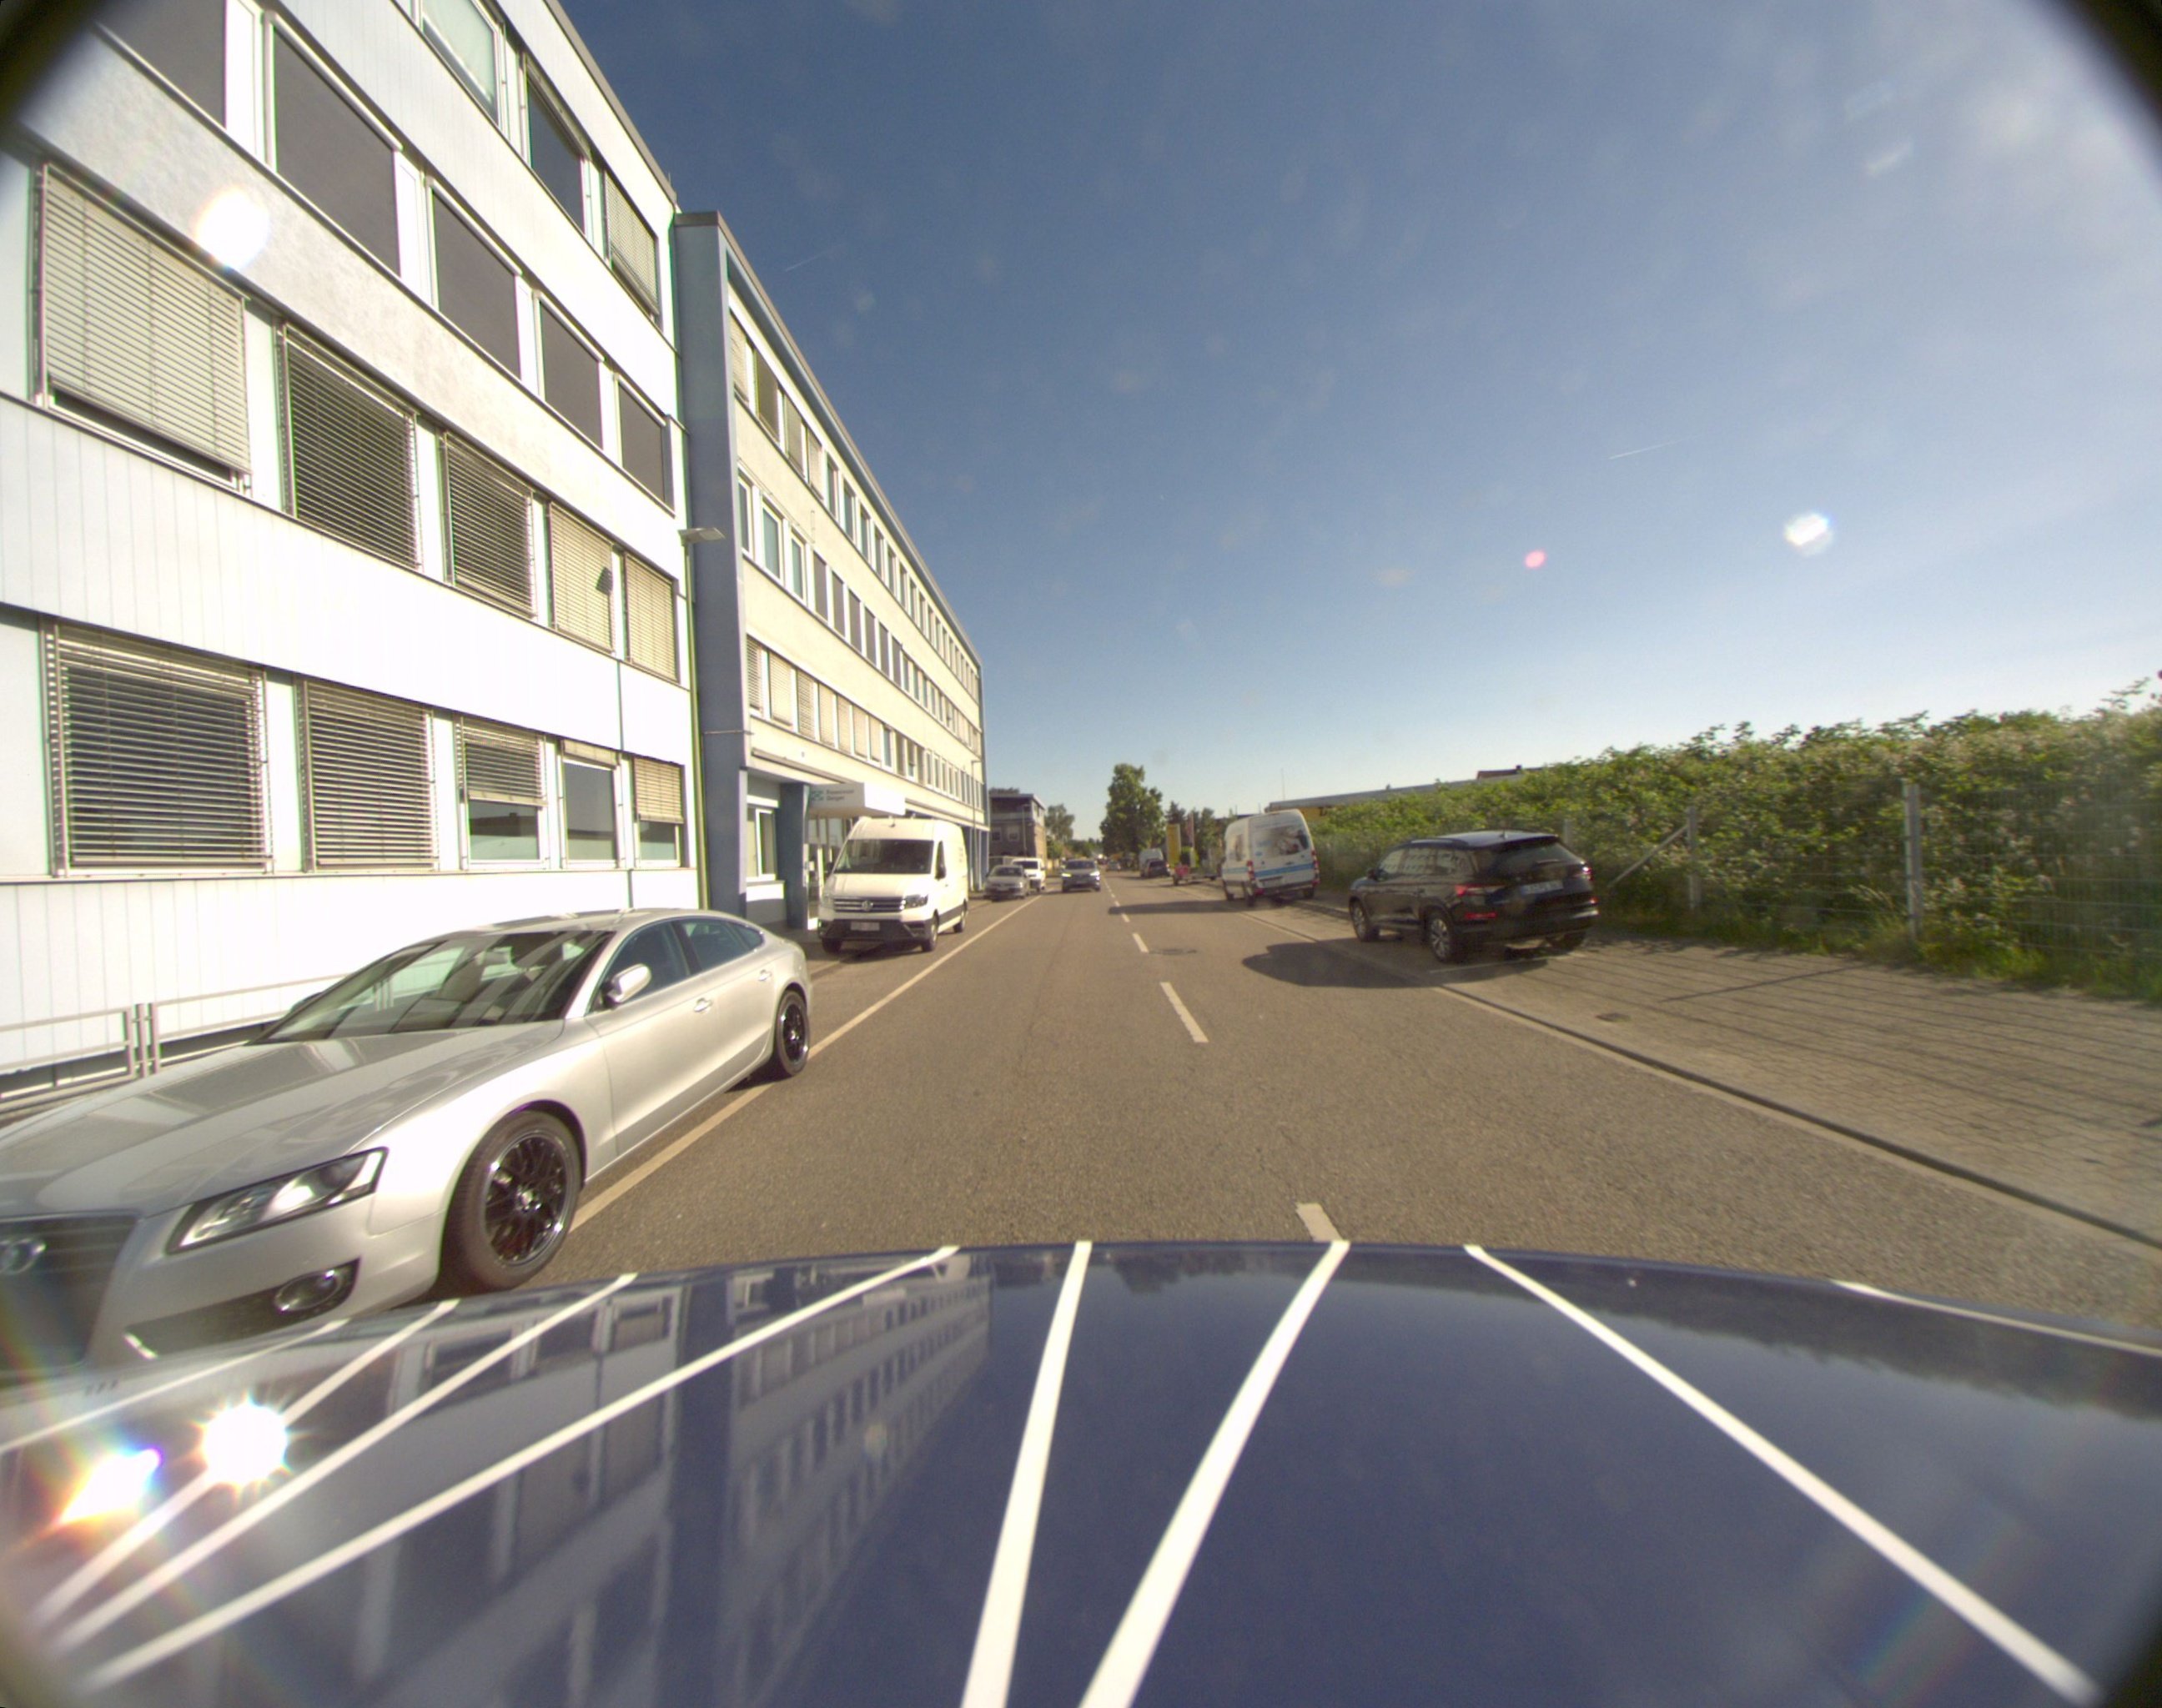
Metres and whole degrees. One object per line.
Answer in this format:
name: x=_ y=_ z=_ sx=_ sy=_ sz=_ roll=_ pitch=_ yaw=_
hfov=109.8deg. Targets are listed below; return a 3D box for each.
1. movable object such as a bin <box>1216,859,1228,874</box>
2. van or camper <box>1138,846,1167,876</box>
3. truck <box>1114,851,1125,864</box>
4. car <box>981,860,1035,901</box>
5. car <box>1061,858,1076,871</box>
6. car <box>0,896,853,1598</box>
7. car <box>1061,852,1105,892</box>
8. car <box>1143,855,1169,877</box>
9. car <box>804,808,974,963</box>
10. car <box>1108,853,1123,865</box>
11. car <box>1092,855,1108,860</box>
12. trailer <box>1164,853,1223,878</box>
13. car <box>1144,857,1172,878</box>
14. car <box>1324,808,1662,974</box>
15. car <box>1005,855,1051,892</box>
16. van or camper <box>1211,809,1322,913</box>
movable object such as a bin: x=9.511 y=0.859 z=51.307 sx=0.615 sy=0.966 sz=0.750 roll=-2 pitch=2 yaw=25
van or camper: x=6.820 y=0.641 z=73.291 sx=2.076 sy=2.534 sz=6.404 roll=-6 pitch=0 yaw=1
truck: x=8.943 y=0.732 z=176.953 sx=2.173 sy=2.698 sz=5.750 roll=-4 pitch=0 yaw=1
car: x=-3.189 y=1.134 z=34.146 sx=1.894 sy=1.551 sz=5.090 roll=-3 pitch=0 yaw=0
car: x=-1.651 y=1.383 z=100.691 sx=1.937 sy=1.635 sz=4.769 roll=-2 pitch=0 yaw=-1
car: x=-3.124 y=1.170 z=4.446 sx=1.899 sy=1.397 sz=5.124 roll=-4 pitch=0 yaw=0
car: x=0.121 y=0.858 z=38.044 sx=1.998 sy=1.750 sz=5.016 roll=-3 pitch=0 yaw=1
car: x=6.630 y=1.016 z=67.744 sx=1.998 sy=1.727 sz=4.576 roll=-6 pitch=0 yaw=4
car: x=-3.655 y=0.581 z=15.797 sx=1.999 sy=2.582 sz=6.051 roll=-1 pitch=-1 yaw=0
car: x=4.579 y=0.611 z=101.499 sx=1.751 sy=1.439 sz=4.360 roll=-3 pitch=0 yaw=1
car: x=4.928 y=0.877 z=198.610 sx=1.871 sy=1.412 sz=4.540 roll=-1 pitch=0 yaw=36
trailer: x=6.242 y=0.655 z=43.148 sx=2.382 sy=1.073 sz=6.246 roll=-6 pitch=-1 yaw=0
car: x=6.301 y=1.090 z=62.468 sx=1.804 sy=1.501 sz=5.003 roll=-6 pitch=0 yaw=1
car: x=5.535 y=0.440 z=11.255 sx=2.035 sy=1.684 sz=5.106 roll=-7 pitch=0 yaw=-1
car: x=-2.842 y=1.027 z=41.851 sx=1.894 sy=1.821 sz=5.091 roll=-3 pitch=0 yaw=2
van or camper: x=5.665 y=0.206 z=24.108 sx=1.971 sy=2.669 sz=5.949 roll=-8 pitch=0 yaw=3
